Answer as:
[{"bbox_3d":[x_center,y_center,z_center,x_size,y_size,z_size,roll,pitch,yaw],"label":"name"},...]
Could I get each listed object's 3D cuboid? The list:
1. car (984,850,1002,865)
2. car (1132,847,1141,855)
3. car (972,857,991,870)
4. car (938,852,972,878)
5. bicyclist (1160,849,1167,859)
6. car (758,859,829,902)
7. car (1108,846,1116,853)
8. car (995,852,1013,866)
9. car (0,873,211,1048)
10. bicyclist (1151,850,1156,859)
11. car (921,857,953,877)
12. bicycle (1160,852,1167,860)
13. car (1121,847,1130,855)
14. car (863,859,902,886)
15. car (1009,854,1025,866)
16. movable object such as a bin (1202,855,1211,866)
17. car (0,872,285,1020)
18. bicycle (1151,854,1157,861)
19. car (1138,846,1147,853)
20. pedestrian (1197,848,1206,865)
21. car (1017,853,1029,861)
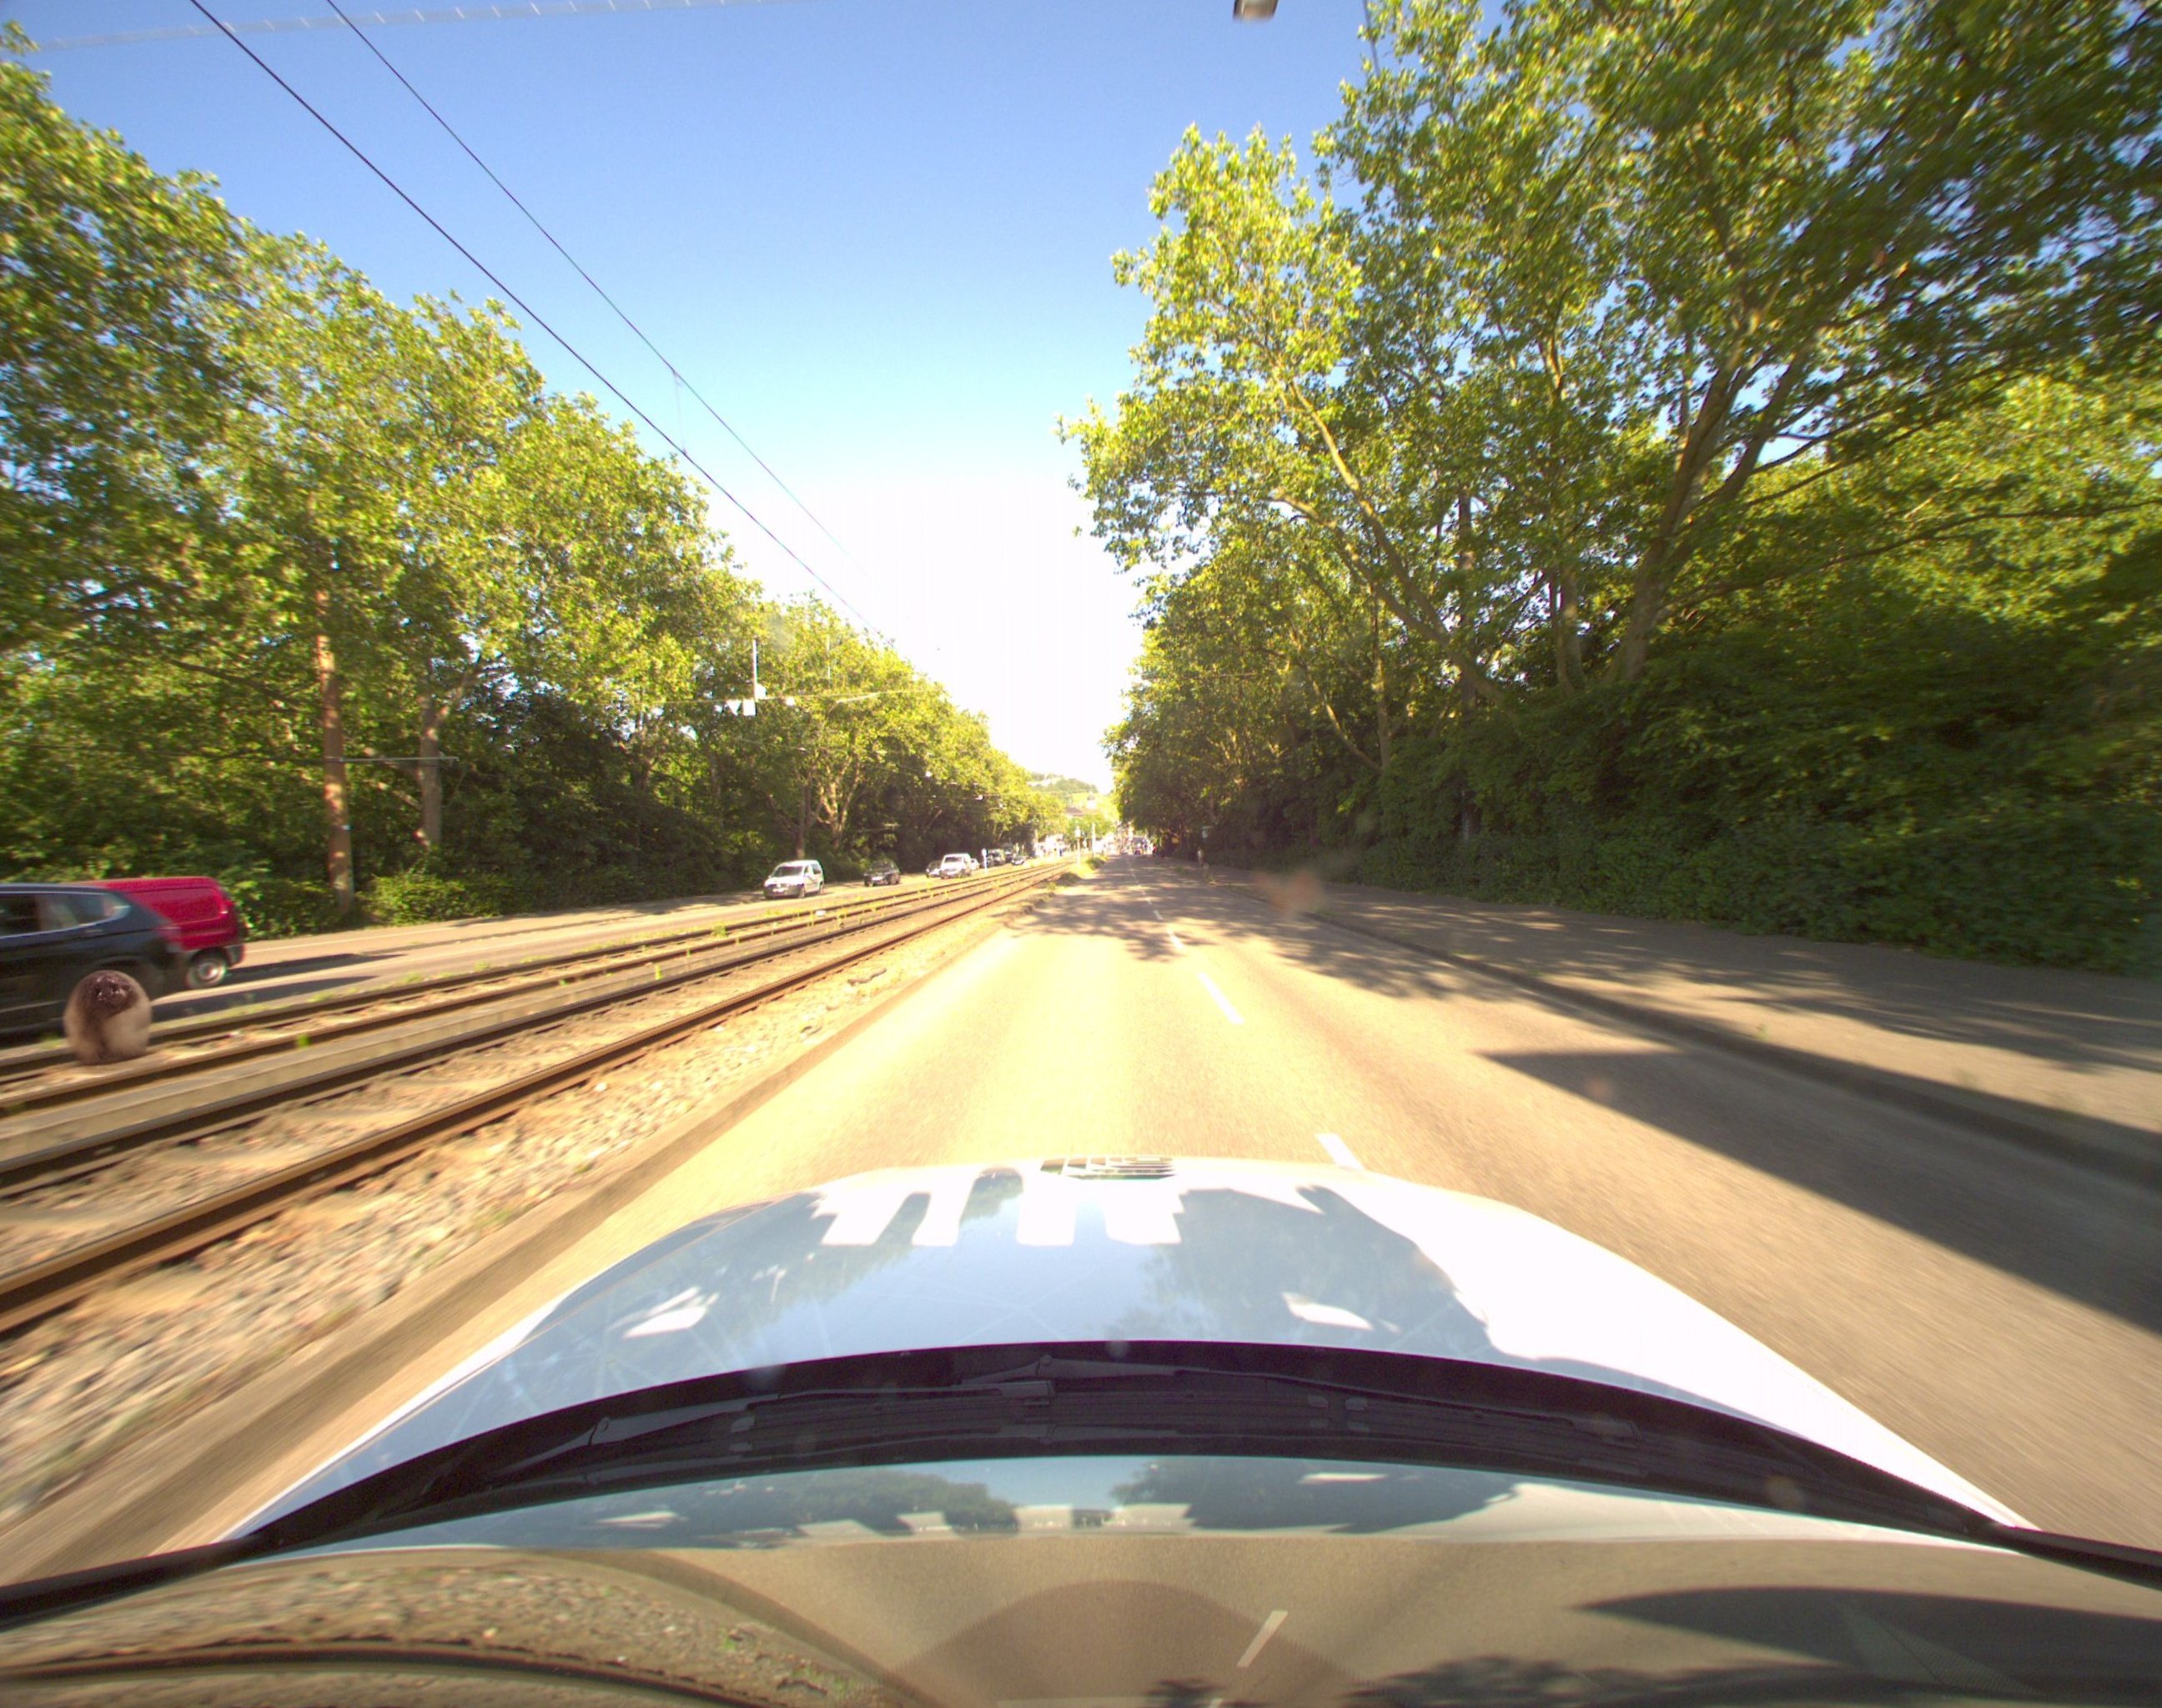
[{"bbox_3d":[-13.459,0.452,124.964,1.987,2.164,5.815,-2,0,1],"label":"car"},{"bbox_3d":[15.647,-0.803,229.015,2.384,1.999,5.308,-2,0,2],"label":"car"},{"bbox_3d":[-13.469,1.252,110.515,1.987,1.697,4.745,-2,0,1],"label":"car"},{"bbox_3d":[-9.984,0.818,65.088,1.989,1.844,5.296,-5,0,-3],"label":"car"},{"bbox_3d":[13.494,0.038,133.310,0.883,1.638,1.165,-2,0,2],"label":"bicyclist"},{"bbox_3d":[-13.883,1.208,39.611,1.736,1.743,4.513,-5,1,0],"label":"car"},{"bbox_3d":[9.304,-1.292,243.480,2.384,1.999,5.308,-2,0,2],"label":"car"},{"bbox_3d":[-13.976,0.854,147.613,2.384,2.523,5.903,-2,0,2],"label":"car"},{"bbox_3d":[-11.341,1.106,7.522,1.735,1.623,4.396,-3,1,1],"label":"car"},{"bbox_3d":[13.860,0.048,155.133,0.883,1.774,1.223,-2,0,2],"label":"bicyclist"},{"bbox_3d":[-13.140,1.155,74.609,1.987,1.697,4.745,-2,0,1],"label":"car"},{"bbox_3d":[13.498,0.274,133.212,0.883,1.321,2.641,-2,0,2],"label":"bicycle"},{"bbox_3d":[12.821,-0.889,233.730,2.384,1.999,5.308,-2,0,2],"label":"car"},{"bbox_3d":[-13.294,1.191,54.805,1.738,1.636,3.996,-3,0,-3],"label":"car"},{"bbox_3d":[-9.724,0.960,123.819,1.987,1.697,4.745,-2,0,1],"label":"car"},{"bbox_3d":[11.573,0.573,75.170,0.800,0.947,0.657,-2,0,5],"label":"movable object such as a bin"},{"bbox_3d":[-14.476,1.231,11.489,1.735,1.754,4.686,-2,1,1],"label":"car"},{"bbox_3d":[13.873,0.661,155.222,0.883,1.321,2.641,-2,0,2],"label":"bicycle"},{"bbox_3d":[18.065,-1.231,238.232,2.384,1.999,5.308,-2,0,2],"label":"car"},{"bbox_3d":[11.259,0.236,76.011,0.800,1.546,0.815,-2,0,6],"label":"pedestrian"},{"bbox_3d":[-12.191,0.573,172.084,1.987,1.697,4.745,-2,0,1],"label":"car"}]
